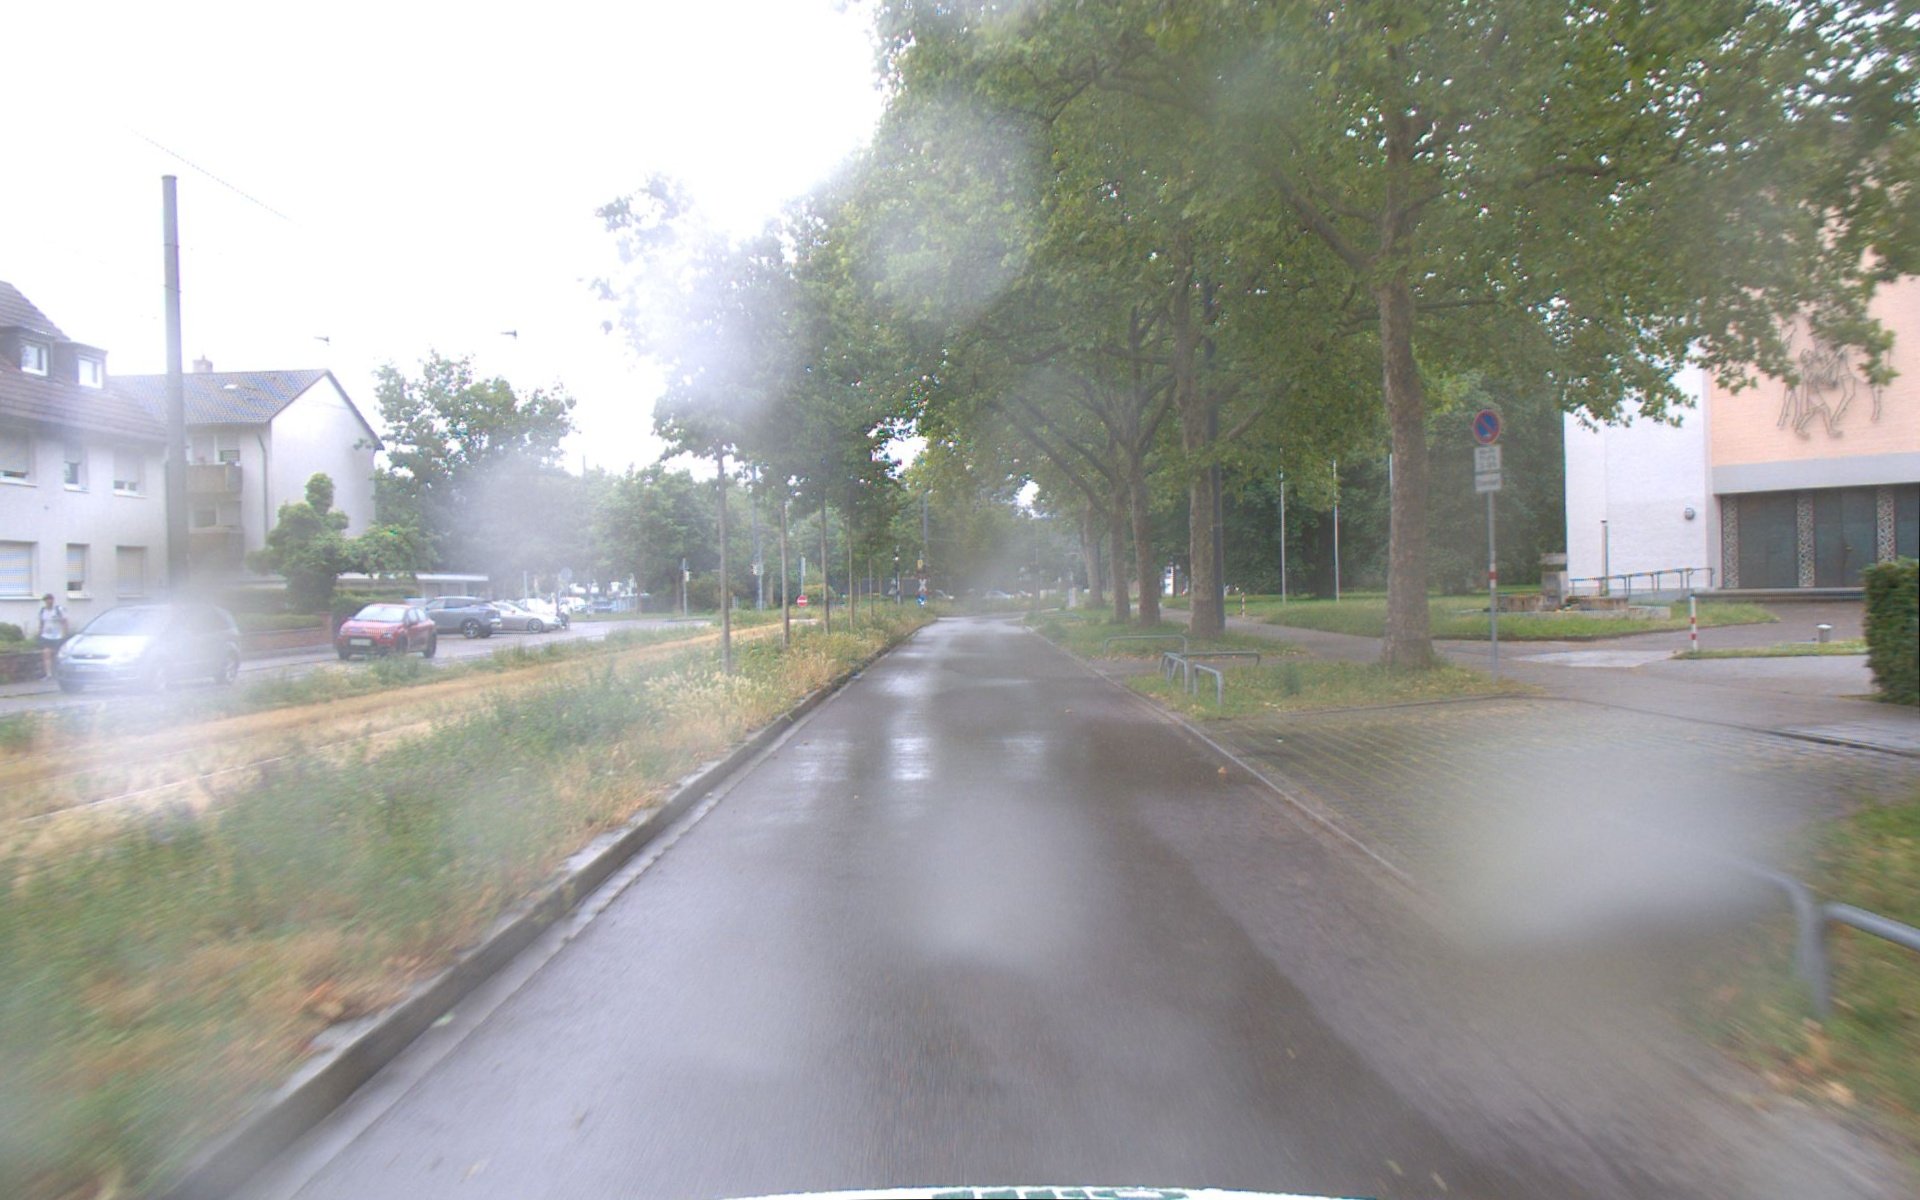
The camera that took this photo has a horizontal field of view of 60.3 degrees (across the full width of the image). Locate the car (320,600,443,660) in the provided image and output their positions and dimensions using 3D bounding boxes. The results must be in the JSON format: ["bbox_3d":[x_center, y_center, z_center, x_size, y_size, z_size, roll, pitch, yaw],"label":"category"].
[{"bbox_3d":[-15.936,0.792,45.768,1.953,1.514,4.205,0,1,-1],"label":"car"}]

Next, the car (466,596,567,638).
[{"bbox_3d":[-19.470,0.737,72.714,3.907,1.645,1.999,-2,0,-3],"label":"car"}]

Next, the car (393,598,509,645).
[{"bbox_3d":[-19.834,0.824,64.561,3.907,1.645,1.999,-2,0,-3],"label":"car"}]

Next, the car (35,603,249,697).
[{"bbox_3d":[-15.704,0.902,32.046,1.953,1.608,4.516,0,1,-1],"label":"car"}]

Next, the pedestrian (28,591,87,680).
[{"bbox_3d":[-18.463,0.716,33.848,0.687,1.785,0.854,-2,0,0],"label":"pedestrian"}]
